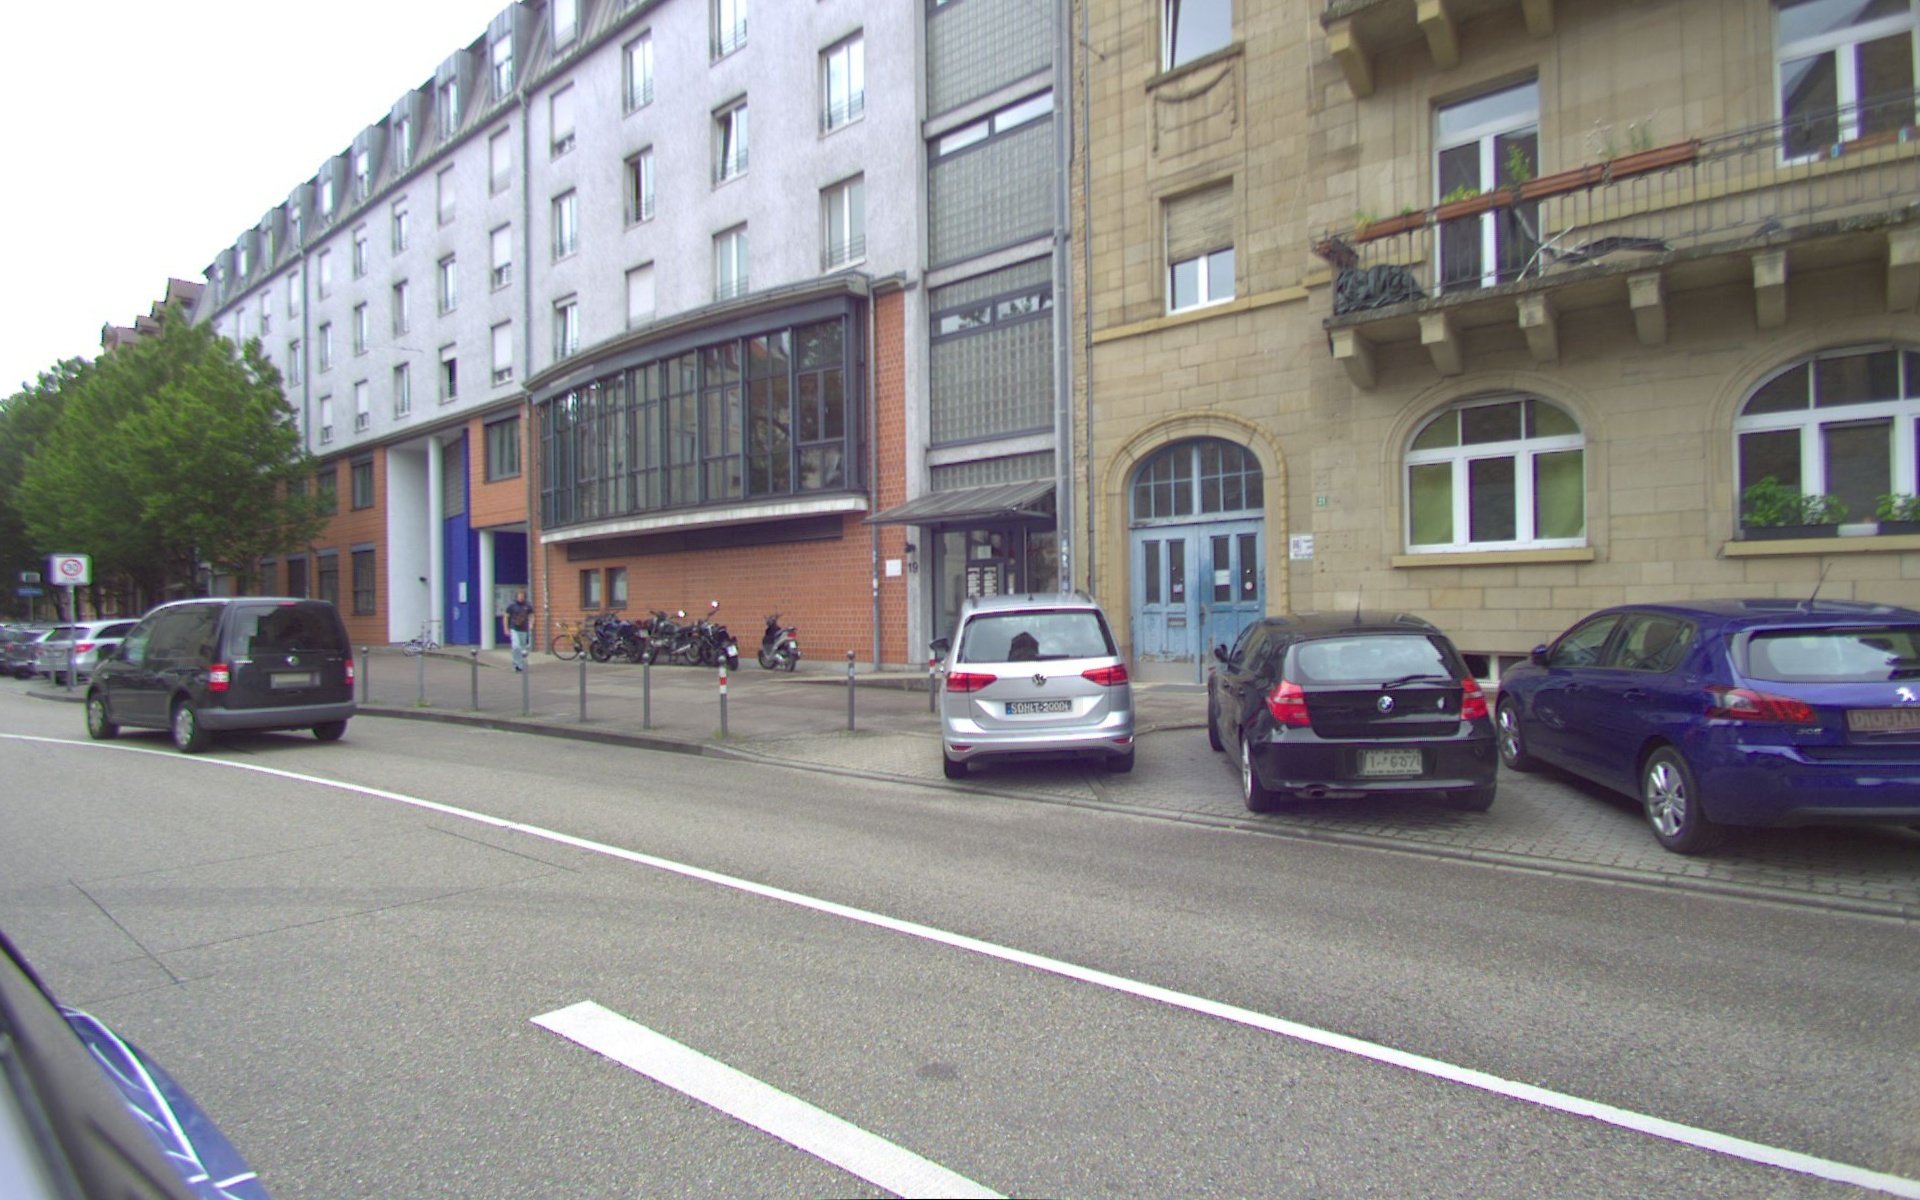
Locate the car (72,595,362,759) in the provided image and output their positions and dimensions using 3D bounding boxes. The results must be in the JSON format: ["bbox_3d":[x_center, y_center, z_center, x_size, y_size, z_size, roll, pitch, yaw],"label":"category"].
[{"bbox_3d":[-9.627,0.902,13.033,4.117,1.817,1.680,-1,-2,33],"label":"car"}]

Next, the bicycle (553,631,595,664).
[{"bbox_3d":[-9.815,1.200,25.709,1.581,0.793,0.332,-2,-1,42],"label":"bicycle"}]

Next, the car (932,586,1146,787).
[{"bbox_3d":[0.692,0.693,10.362,1.710,1.565,3.999,-2,1,1],"label":"car"}]

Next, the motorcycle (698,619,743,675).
[{"bbox_3d":[-4.947,0.946,20.838,0.438,1.106,1.768,0,-1,-29],"label":"motorcycle"}]

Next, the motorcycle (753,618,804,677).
[{"bbox_3d":[-3.593,0.909,19.940,0.438,1.106,1.768,0,-1,-29],"label":"motorcycle"}]

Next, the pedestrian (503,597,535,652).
[{"bbox_3d":[-13.422,0.736,30.793,0.622,1.662,0.677,-1,0,42],"label":"pedestrian"}]

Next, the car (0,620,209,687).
[{"bbox_3d":[-23.301,1.408,27.737,1.983,1.641,3.977,-1,-1,18],"label":"car"}]

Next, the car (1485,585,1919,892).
[{"bbox_3d":[5.211,0.690,6.913,1.804,1.456,3.737,-2,1,10],"label":"car"}]

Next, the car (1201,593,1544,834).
[{"bbox_3d":[3.110,0.734,8.501,1.713,1.449,3.990,-2,1,9],"label":"car"}]

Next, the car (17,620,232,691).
[{"bbox_3d":[-21.292,1.362,25.996,1.758,1.641,3.977,-1,-1,18],"label":"car"}]

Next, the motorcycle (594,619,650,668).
[{"bbox_3d":[-7.988,1.018,23.875,1.762,1.106,0.440,-2,-1,42],"label":"motorcycle"}]

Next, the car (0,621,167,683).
[{"bbox_3d":[-25.946,1.455,29.587,1.983,1.641,3.977,-1,-1,18],"label":"car"}]

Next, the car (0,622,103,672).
[{"bbox_3d":[-32.649,1.624,35.147,1.983,1.641,3.977,-1,-1,18],"label":"car"}]

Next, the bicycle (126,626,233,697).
[{"bbox_3d":[-15.617,1.200,20.288,0.416,1.299,1.610,-2,1,39],"label":"bicycle"}]

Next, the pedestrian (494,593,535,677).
[{"bbox_3d":[-9.938,0.770,22.583,0.641,1.837,0.613,-2,-1,41],"label":"pedestrian"}]

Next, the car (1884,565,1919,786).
[{"bbox_3d":[7.555,0.546,5.379,1.681,1.565,3.997,-2,1,3],"label":"car"}]

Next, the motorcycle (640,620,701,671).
[{"bbox_3d":[-6.463,0.999,22.572,1.762,1.106,0.440,-2,-1,42],"label":"motorcycle"}]

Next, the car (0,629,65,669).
[{"bbox_3d":[-37.718,1.914,39.413,1.723,1.508,3.977,-1,-1,18],"label":"car"}]

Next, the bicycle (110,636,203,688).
[{"bbox_3d":[-18.451,1.404,23.264,0.416,1.082,1.610,-2,1,39],"label":"bicycle"}]

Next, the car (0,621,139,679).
[{"bbox_3d":[-28.167,1.495,31.247,1.983,1.641,3.977,-1,-1,18],"label":"car"}]

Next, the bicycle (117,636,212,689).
[{"bbox_3d":[-18.068,1.400,23.013,0.416,1.082,1.610,-2,1,39],"label":"bicycle"}]

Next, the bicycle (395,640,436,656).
[{"bbox_3d":[-16.663,1.476,30.974,0.527,0.440,0.997,1,0,42],"label":"bicycle"}]
